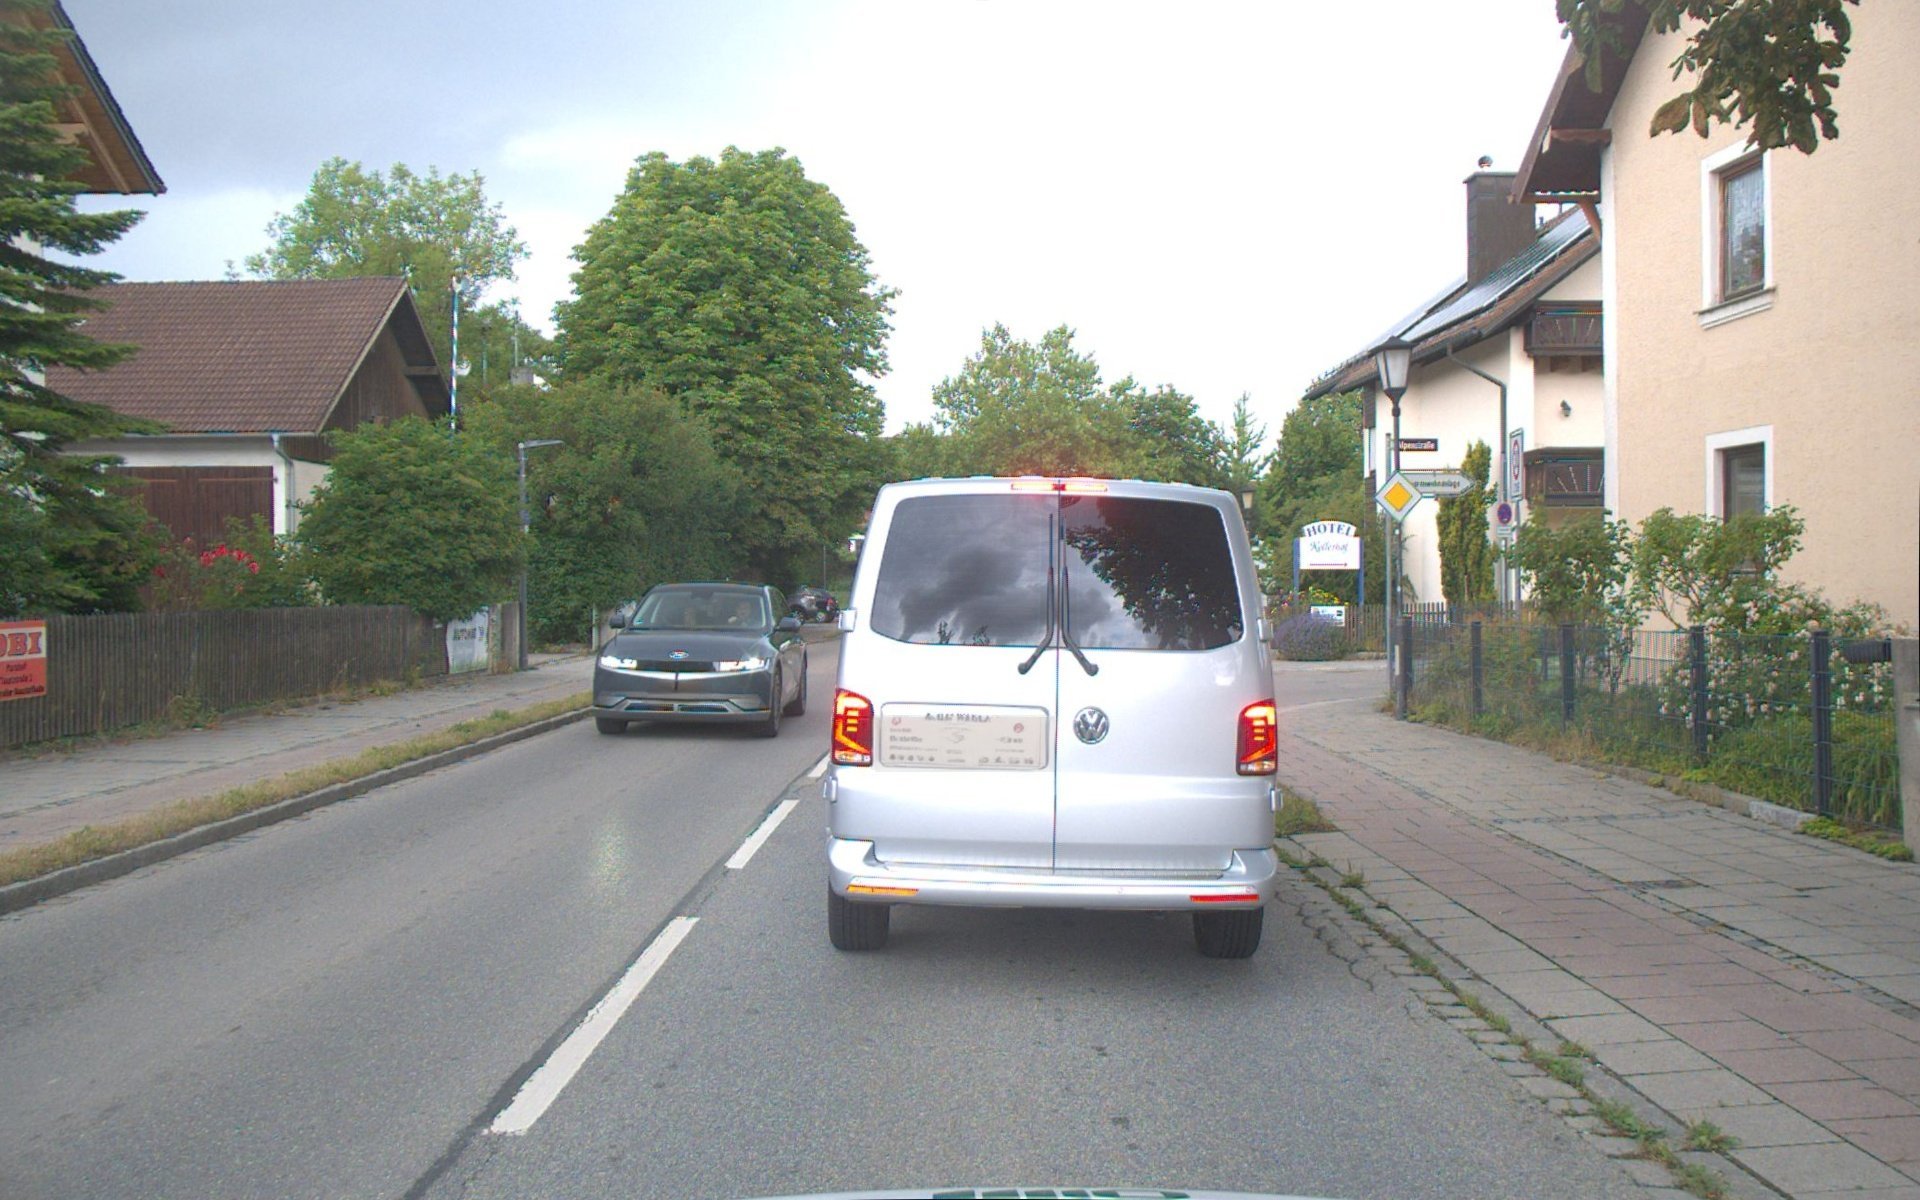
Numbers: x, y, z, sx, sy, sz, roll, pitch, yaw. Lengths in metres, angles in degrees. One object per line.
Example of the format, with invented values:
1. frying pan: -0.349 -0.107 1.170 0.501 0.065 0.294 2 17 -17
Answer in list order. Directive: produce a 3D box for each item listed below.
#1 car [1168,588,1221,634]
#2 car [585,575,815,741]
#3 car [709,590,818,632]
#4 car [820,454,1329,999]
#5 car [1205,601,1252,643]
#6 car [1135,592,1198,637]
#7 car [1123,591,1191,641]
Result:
1. car: 9.407 0.408 66.179 1.841 1.779 4.084 0 0 12
2. car: -2.751 0.568 18.478 1.891 1.602 4.311 1 0 0
3. car: -7.241 0.385 60.888 3.912 1.512 1.996 0 0 -9
4. car: 0.431 0.451 7.969 1.842 1.974 3.921 0 0 0
5. car: 12.142 0.967 74.722 1.841 1.857 3.924 0 0 13
6. car: 7.432 0.481 59.234 1.841 1.562 3.924 0 0 13
7. car: 6.379 0.480 53.256 1.841 1.562 3.924 0 0 12
